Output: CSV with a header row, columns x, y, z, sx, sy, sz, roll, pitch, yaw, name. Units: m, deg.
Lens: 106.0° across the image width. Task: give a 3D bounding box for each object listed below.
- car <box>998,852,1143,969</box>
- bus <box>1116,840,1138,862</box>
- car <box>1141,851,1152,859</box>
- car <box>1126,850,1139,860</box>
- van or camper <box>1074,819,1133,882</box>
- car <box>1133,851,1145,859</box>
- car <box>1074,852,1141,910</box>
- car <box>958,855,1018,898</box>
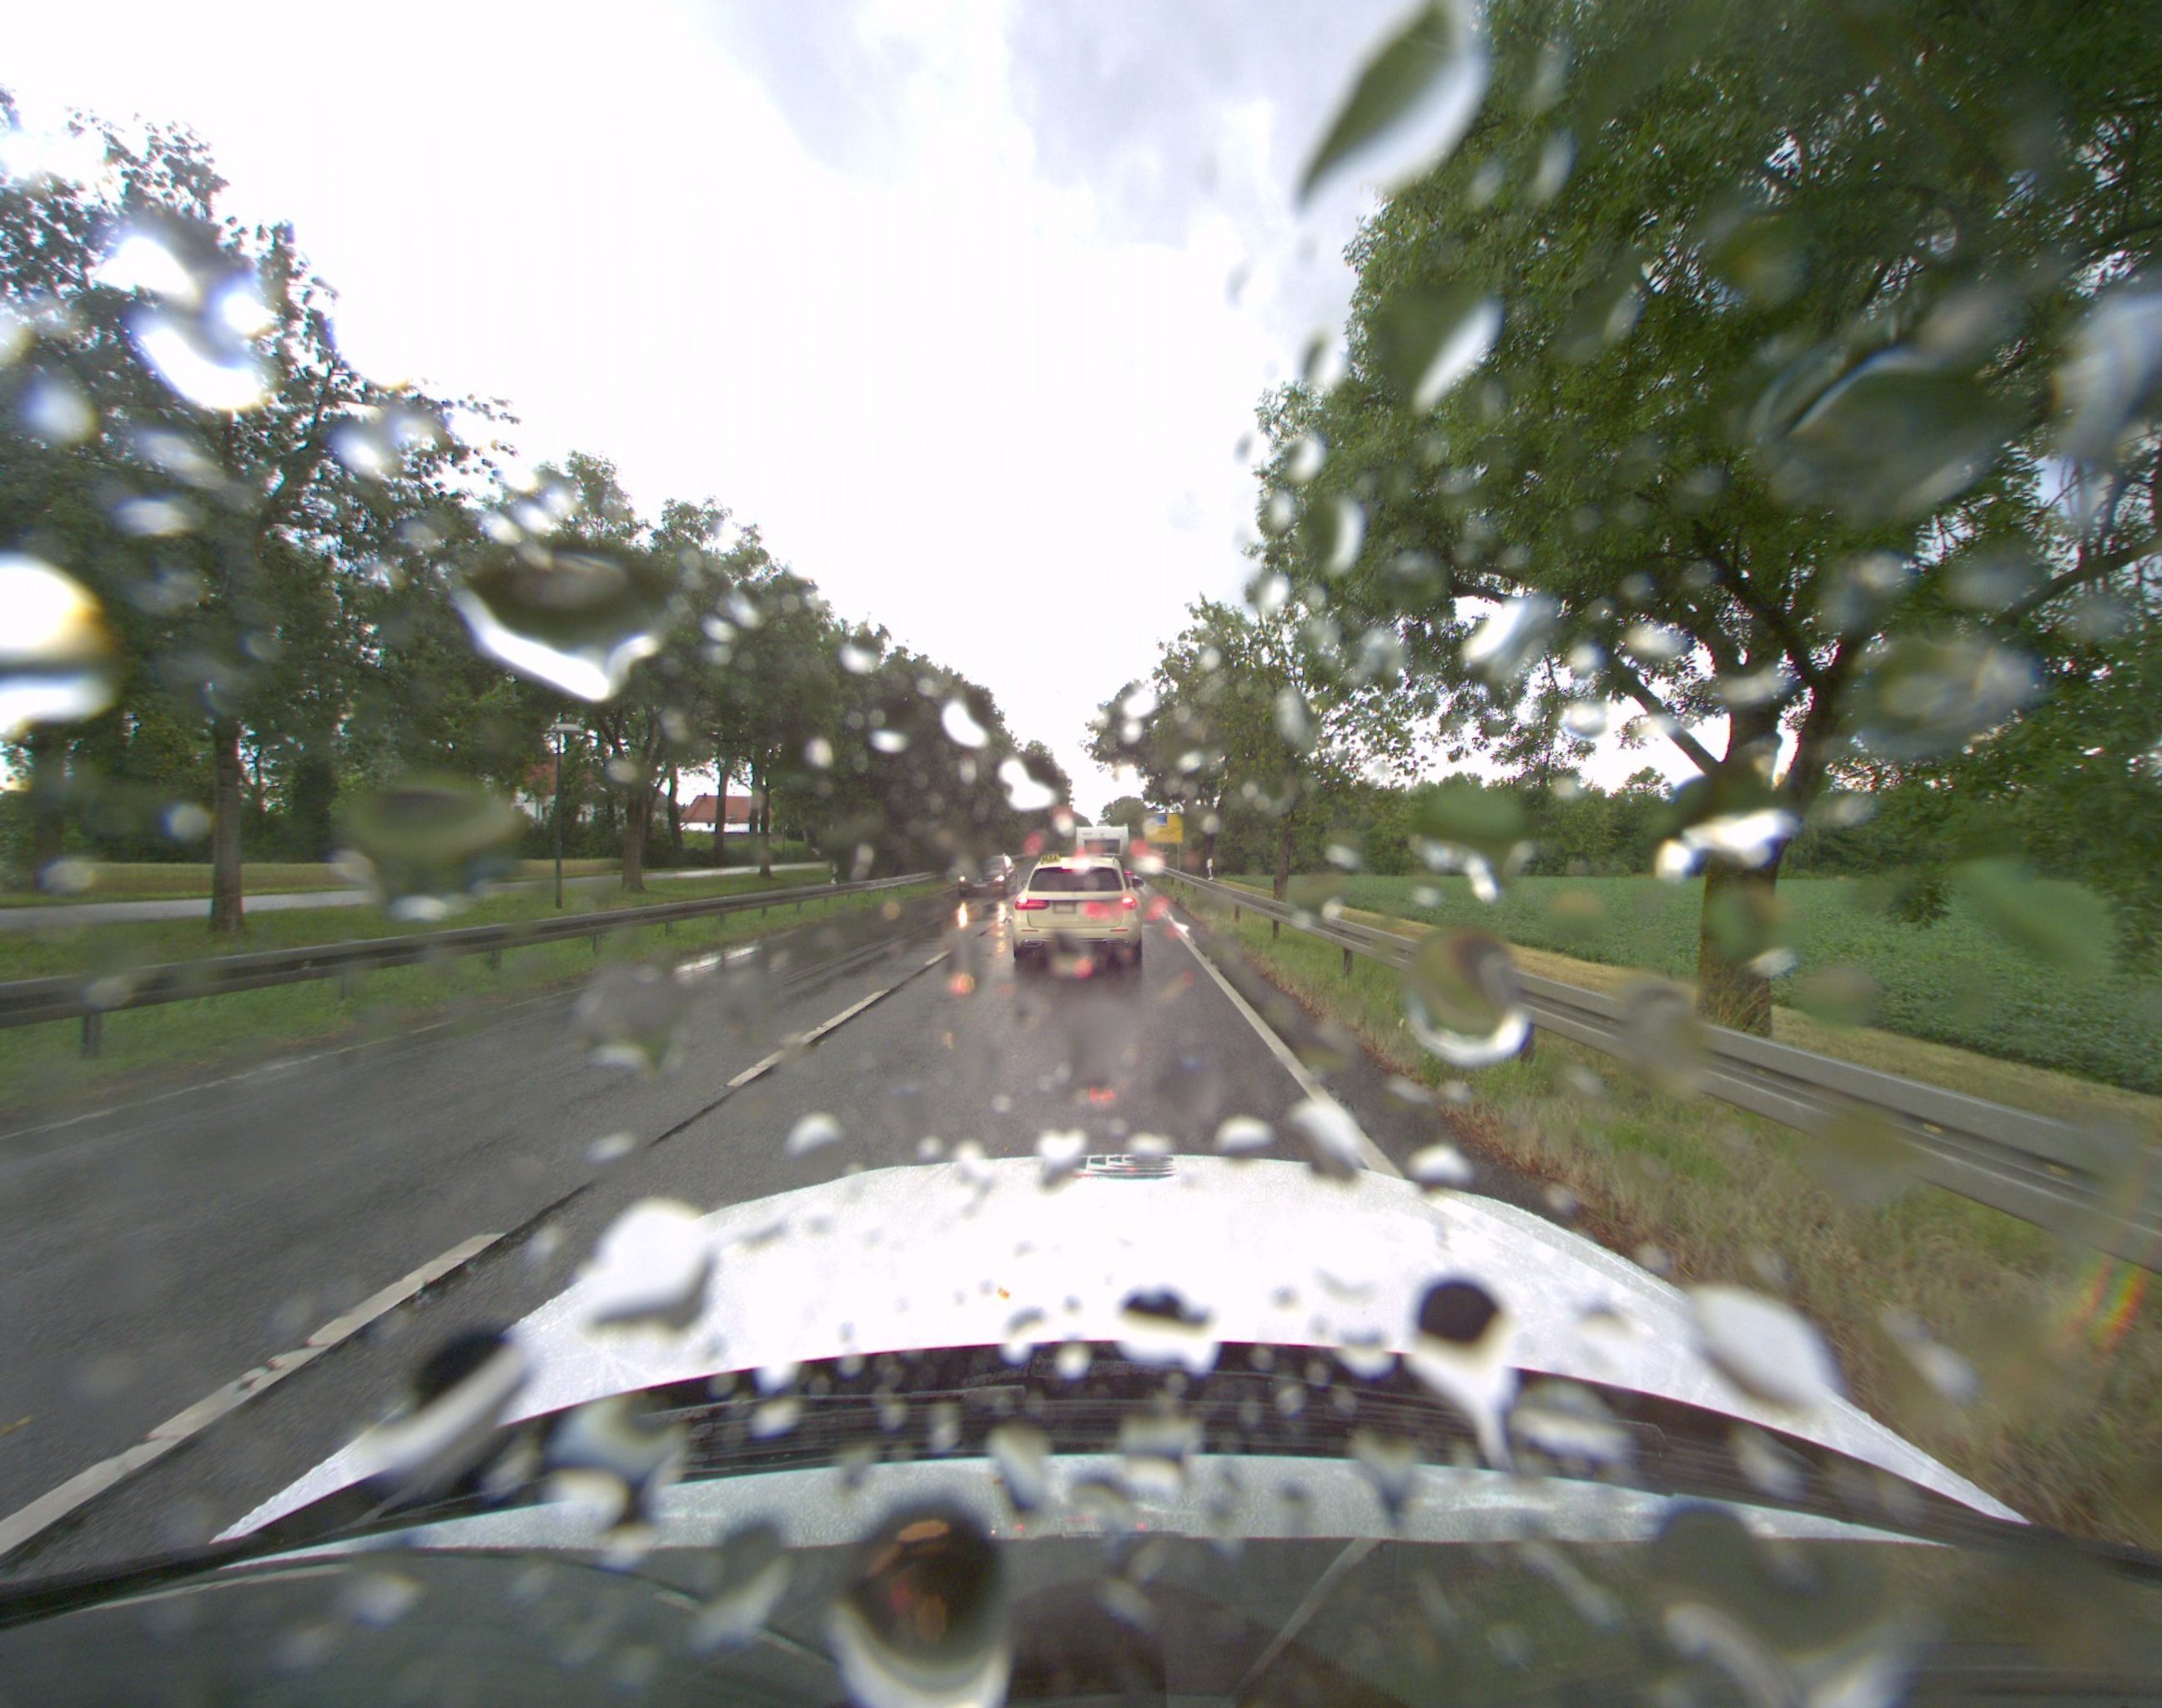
x,y,z,sx,sy,sz,roll,pitch,yaw,name
-0.029,0.730,12.594,1.857,1.476,4.004,-1,0,3,car
4.419,-0.304,79.439,1.986,2.013,4.002,-2,0,2,bus
9.610,0.162,119.417,1.545,1.118,4.004,-1,0,4,car
6.484,0.131,103.201,1.546,1.118,4.001,-1,0,2,car
1.130,-0.168,37.618,2.479,2.685,5.705,-1,0,3,van or camper
7.960,0.154,112.672,1.545,1.118,4.003,-1,0,3,car
0.785,0.690,22.687,1.657,1.430,4.004,-1,0,3,car
-3.374,0.777,30.193,1.622,1.438,3.962,-1,0,2,car
